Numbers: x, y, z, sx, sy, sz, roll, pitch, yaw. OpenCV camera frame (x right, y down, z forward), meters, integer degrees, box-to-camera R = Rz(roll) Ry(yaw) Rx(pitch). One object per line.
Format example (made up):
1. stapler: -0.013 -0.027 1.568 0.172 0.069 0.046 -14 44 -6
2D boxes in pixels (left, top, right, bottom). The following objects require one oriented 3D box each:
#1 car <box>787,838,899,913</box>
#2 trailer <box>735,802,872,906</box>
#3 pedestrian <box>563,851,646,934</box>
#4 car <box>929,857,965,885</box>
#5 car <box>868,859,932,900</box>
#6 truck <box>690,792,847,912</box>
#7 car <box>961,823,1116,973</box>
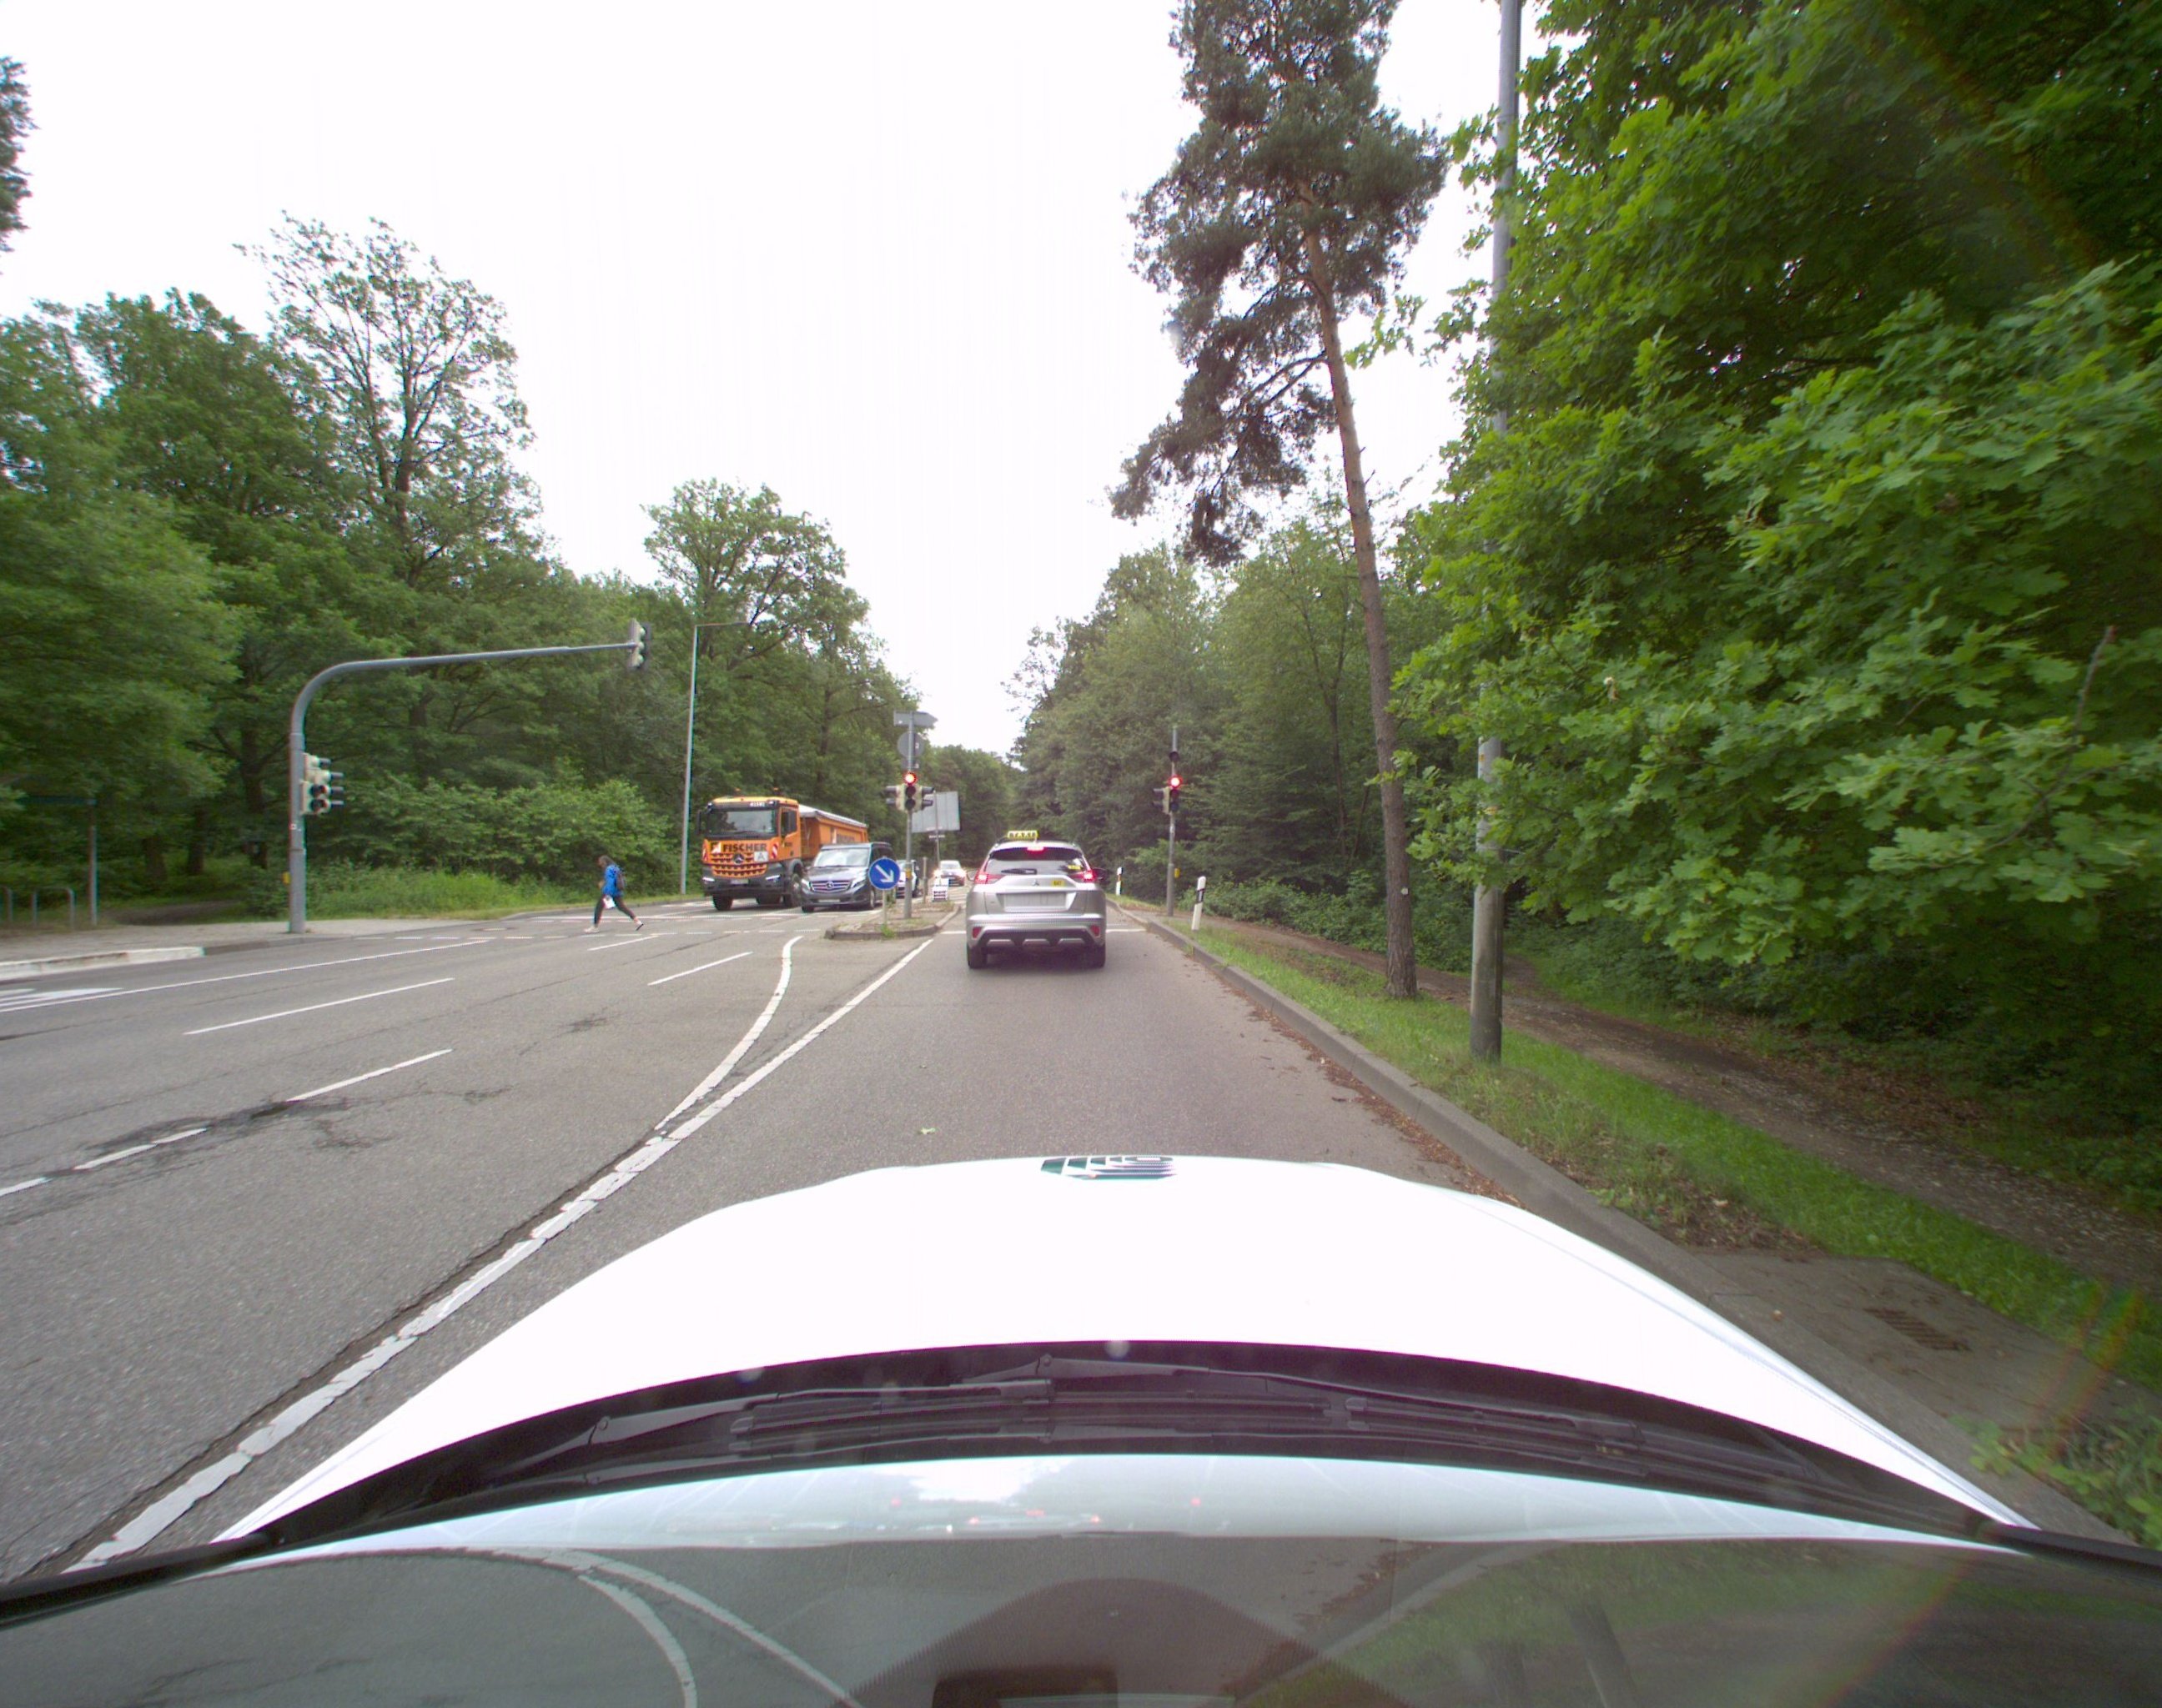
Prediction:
1. car: -6.774 0.582 23.758 1.989 1.893 4.833 -2 0 -3
2. trailer: -10.155 0.048 30.863 2.734 3.318 8.555 -1 -1 -4
3. pedestrian: -9.868 0.775 16.912 1.042 1.649 1.070 -1 1 4
4. car: -7.867 1.008 48.144 1.809 1.508 3.714 -3 0 -5
5. car: -6.798 0.922 30.924 1.608 1.321 3.719 -3 1 -1
6. truck: -9.855 -0.019 26.595 2.734 3.318 7.148 -1 -1 -4
7. car: -0.617 0.520 11.751 1.843 1.780 3.995 0 0 -4
